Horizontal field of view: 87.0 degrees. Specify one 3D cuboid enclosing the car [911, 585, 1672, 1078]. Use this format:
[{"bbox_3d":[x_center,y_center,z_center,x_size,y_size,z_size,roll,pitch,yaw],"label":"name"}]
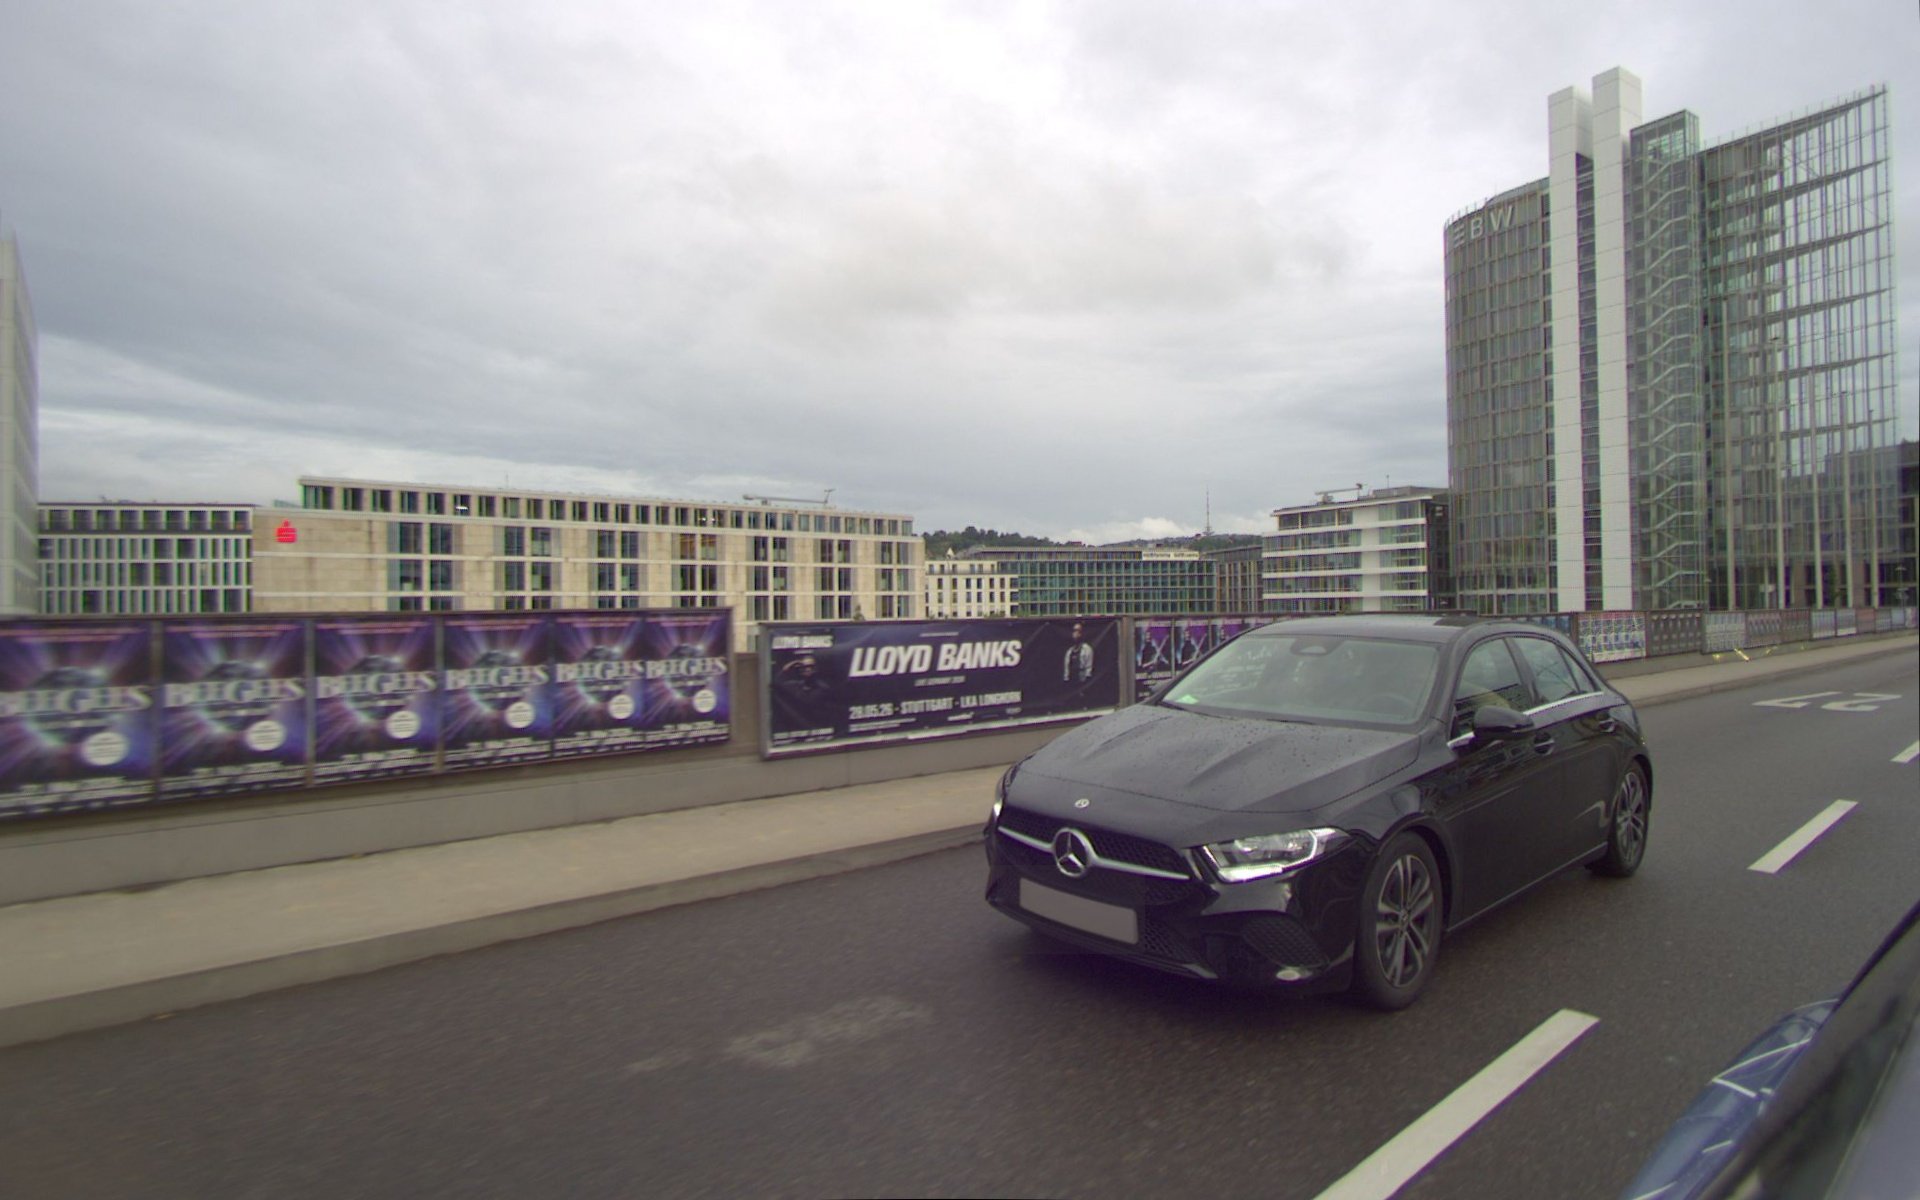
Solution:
[{"bbox_3d":[1.896,0.662,4.988,4.083,1.393,1.726,-2,1,-41],"label":"car"}]
